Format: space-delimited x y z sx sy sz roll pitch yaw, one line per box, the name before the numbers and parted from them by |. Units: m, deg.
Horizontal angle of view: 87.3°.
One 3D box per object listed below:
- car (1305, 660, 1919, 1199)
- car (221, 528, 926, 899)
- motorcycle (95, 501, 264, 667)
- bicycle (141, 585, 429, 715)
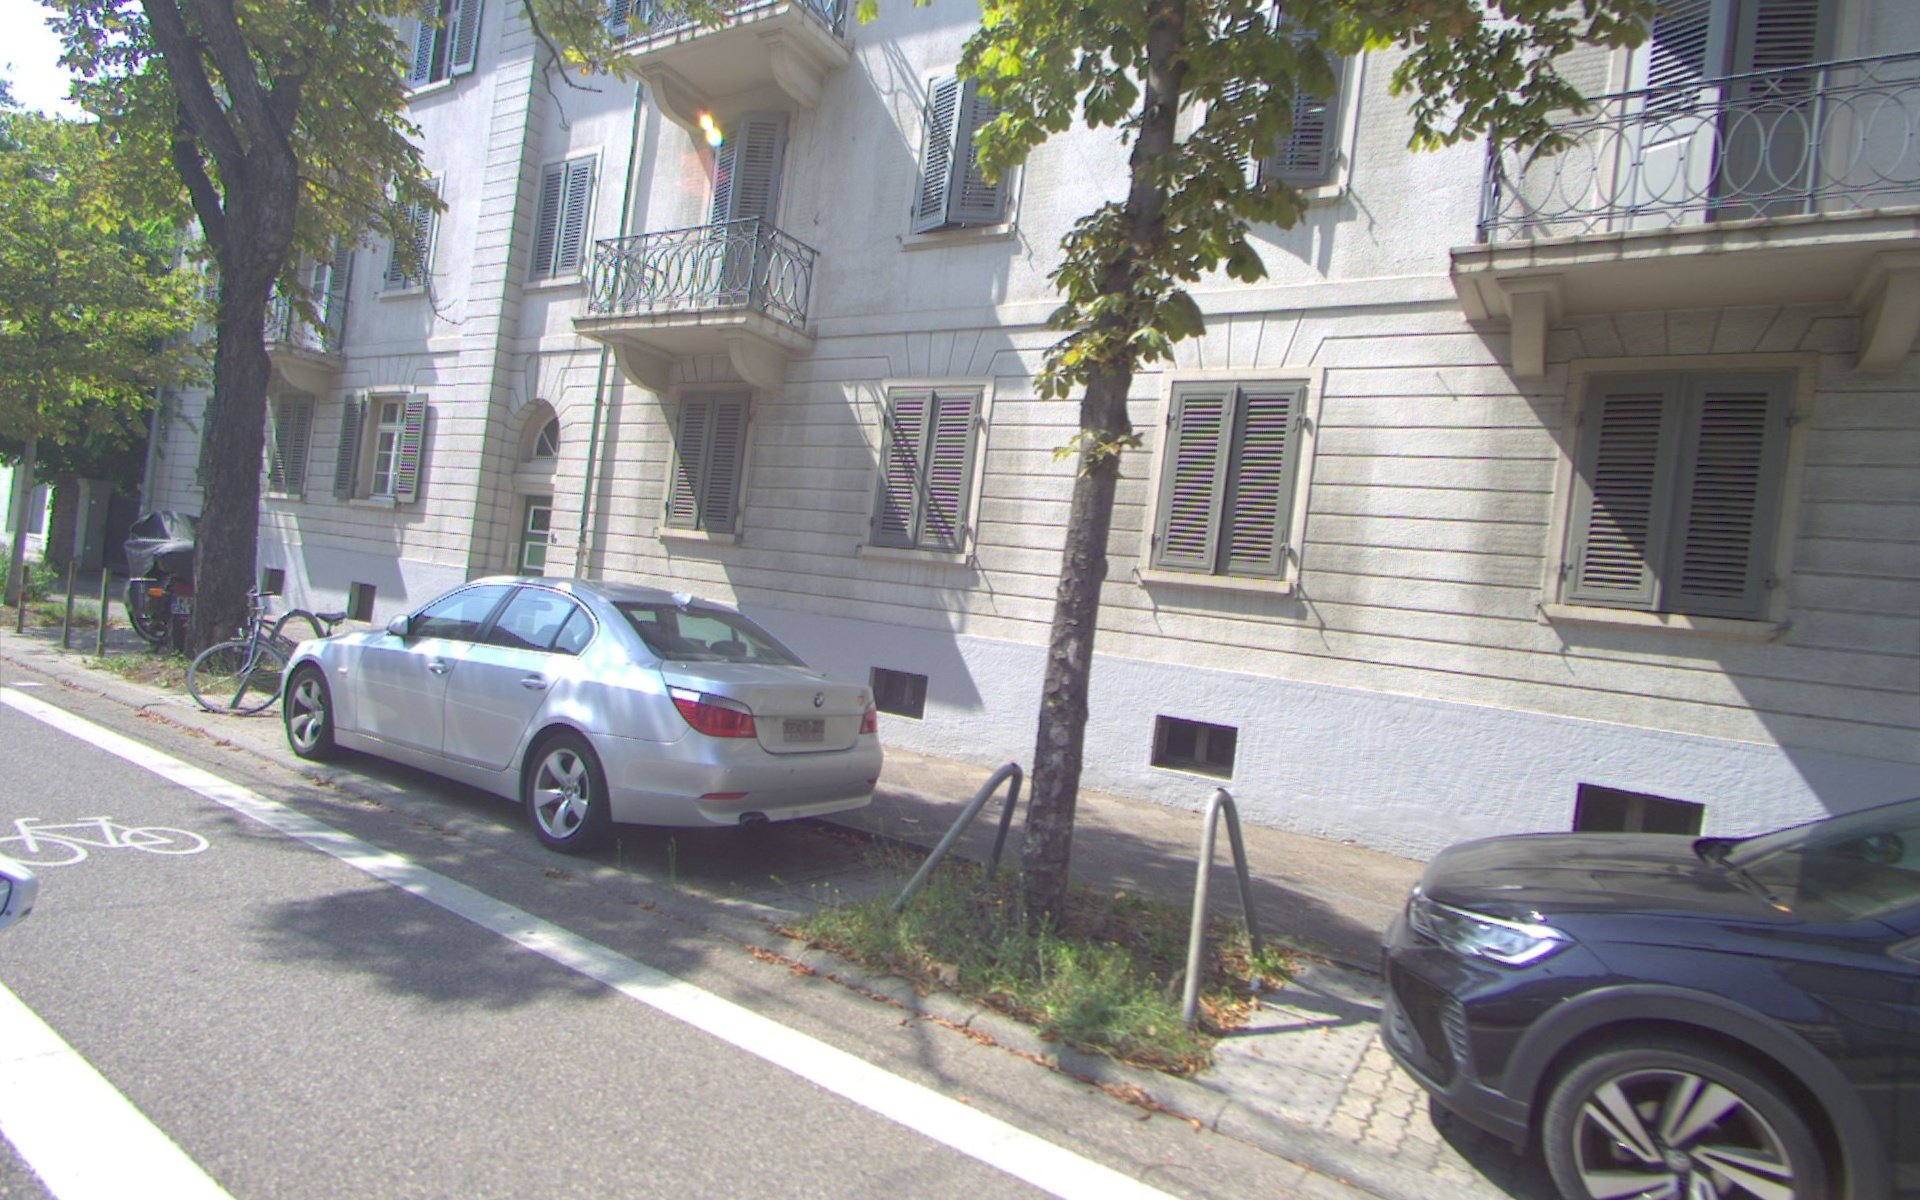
car | 3.429 1.236 2.760 4.358 1.525 1.667 7 0 28
car | -2.741 0.531 6.768 4.670 1.468 1.786 7 0 30
motorcycle | -8.666 -0.212 11.119 2.377 1.572 0.885 6 0 40
bicycle | -5.916 0.484 8.938 0.709 0.963 1.924 7 -2 35
